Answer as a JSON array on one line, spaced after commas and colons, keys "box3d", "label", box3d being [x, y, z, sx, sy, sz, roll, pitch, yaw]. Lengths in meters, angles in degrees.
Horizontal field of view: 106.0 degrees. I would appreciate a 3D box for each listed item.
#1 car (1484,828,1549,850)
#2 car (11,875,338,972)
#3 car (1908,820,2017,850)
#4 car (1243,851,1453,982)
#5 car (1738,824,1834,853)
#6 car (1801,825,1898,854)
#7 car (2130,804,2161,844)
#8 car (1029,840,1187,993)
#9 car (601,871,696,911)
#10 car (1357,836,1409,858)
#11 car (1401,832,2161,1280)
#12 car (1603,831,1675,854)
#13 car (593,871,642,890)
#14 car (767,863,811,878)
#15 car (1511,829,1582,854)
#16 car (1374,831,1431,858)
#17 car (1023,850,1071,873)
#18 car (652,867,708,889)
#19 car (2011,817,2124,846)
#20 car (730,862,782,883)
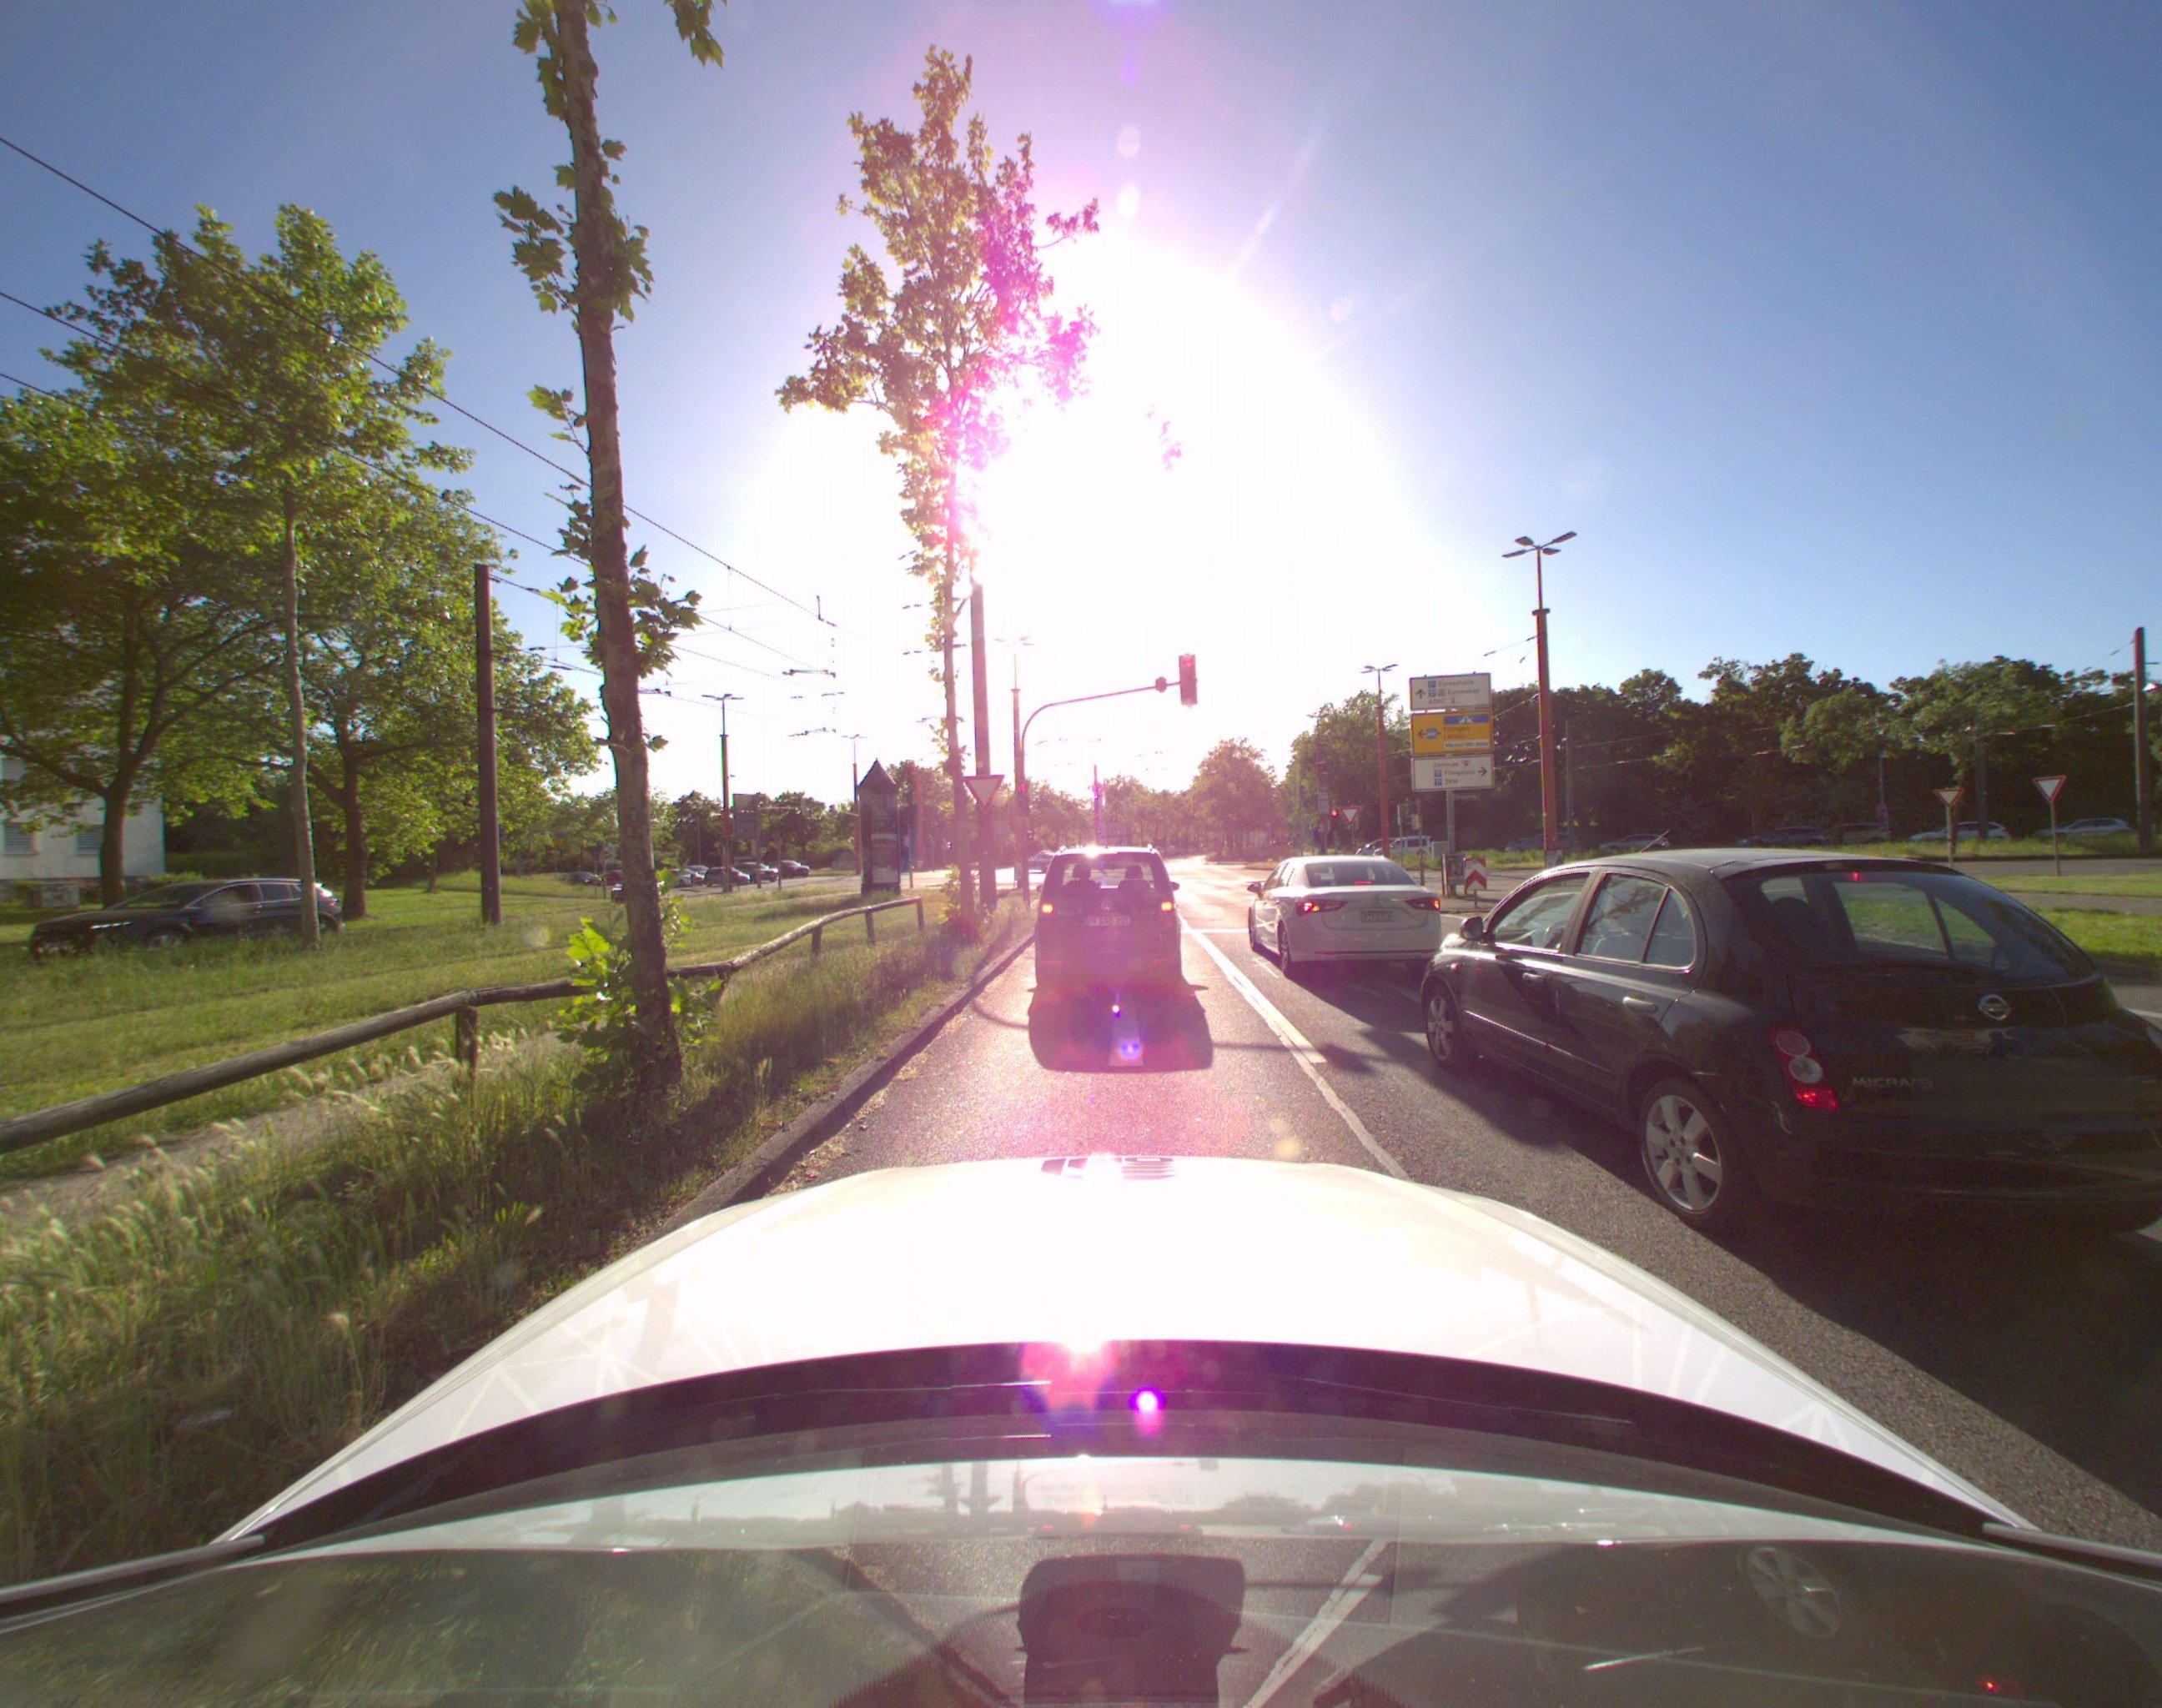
[{"box3d": [31.620, -1.046, 59.240, 4.082, 1.511, 1.834, 0, -1, 28], "label": "car"}, {"box3d": [-17.501, 1.257, 16.092, 1.758, 1.512, 4.104, -2, 0, 2], "label": "car"}, {"box3d": [49.434, -1.065, 45.770, 3.782, 1.523, 1.706, -2, 0, 31], "label": "car"}, {"box3d": [3.367, 0.696, 11.112, 1.713, 1.438, 4.202, -1, 0, 3], "label": "car"}, {"box3d": [42.834, -0.941, 49.609, 4.080, 1.598, 1.840, -2, 0, 29], "label": "car"}, {"box3d": [48.107, -0.886, 51.089, 4.080, 1.644, 1.864, -2, 0, 31], "label": "car"}, {"box3d": [57.419, -1.604, 41.400, 4.526, 2.013, 2.013, -2, 0, 30], "label": "car"}, {"box3d": [0.351, 0.681, 10.866, 1.694, 1.621, 3.898, -2, 0, 2], "label": "car"}, {"box3d": [-19.198, 1.593, 36.413, 1.799, 1.522, 4.332, -2, 0, 1], "label": "car"}, {"box3d": [23.685, -0.518, 63.890, 3.608, 1.655, 1.690, 0, -1, 27], "label": "car"}, {"box3d": [3.256, 0.678, 4.550, 1.647, 1.500, 3.617, -1, 0, 2], "label": "car"}, {"box3d": [37.993, -0.757, 55.584, 3.926, 1.441, 1.697, 0, -1, 29], "label": "car"}, {"box3d": [-39.455, 2.236, 69.312, 3.949, 1.513, 1.743, -2, 0, 27], "label": "car"}, {"box3d": [-26.500, 1.510, 73.829, 3.948, 1.330, 1.709, -2, 0, 33], "label": "car"}, {"box3d": [31.690, -0.814, 55.574, 4.139, 1.644, 1.770, 0, -1, 28], "label": "car"}, {"box3d": [23.706, -0.692, 60.072, 3.797, 1.890, 1.774, 0, -1, 25], "label": "car"}, {"box3d": [-2.663, 0.582, 63.236, 1.811, 1.656, 4.070, -2, 0, -35], "label": "car"}, {"box3d": [-32.295, 1.951, 65.620, 4.135, 1.612, 1.880, -2, 0, 27], "label": "car"}, {"box3d": [55.486, -1.240, 45.882, 3.700, 1.473, 1.611, -2, 0, 29], "label": "car"}, {"box3d": [-26.480, 1.499, 66.351, 3.948, 1.644, 2.013, -2, 0, 33], "label": "car"}]
